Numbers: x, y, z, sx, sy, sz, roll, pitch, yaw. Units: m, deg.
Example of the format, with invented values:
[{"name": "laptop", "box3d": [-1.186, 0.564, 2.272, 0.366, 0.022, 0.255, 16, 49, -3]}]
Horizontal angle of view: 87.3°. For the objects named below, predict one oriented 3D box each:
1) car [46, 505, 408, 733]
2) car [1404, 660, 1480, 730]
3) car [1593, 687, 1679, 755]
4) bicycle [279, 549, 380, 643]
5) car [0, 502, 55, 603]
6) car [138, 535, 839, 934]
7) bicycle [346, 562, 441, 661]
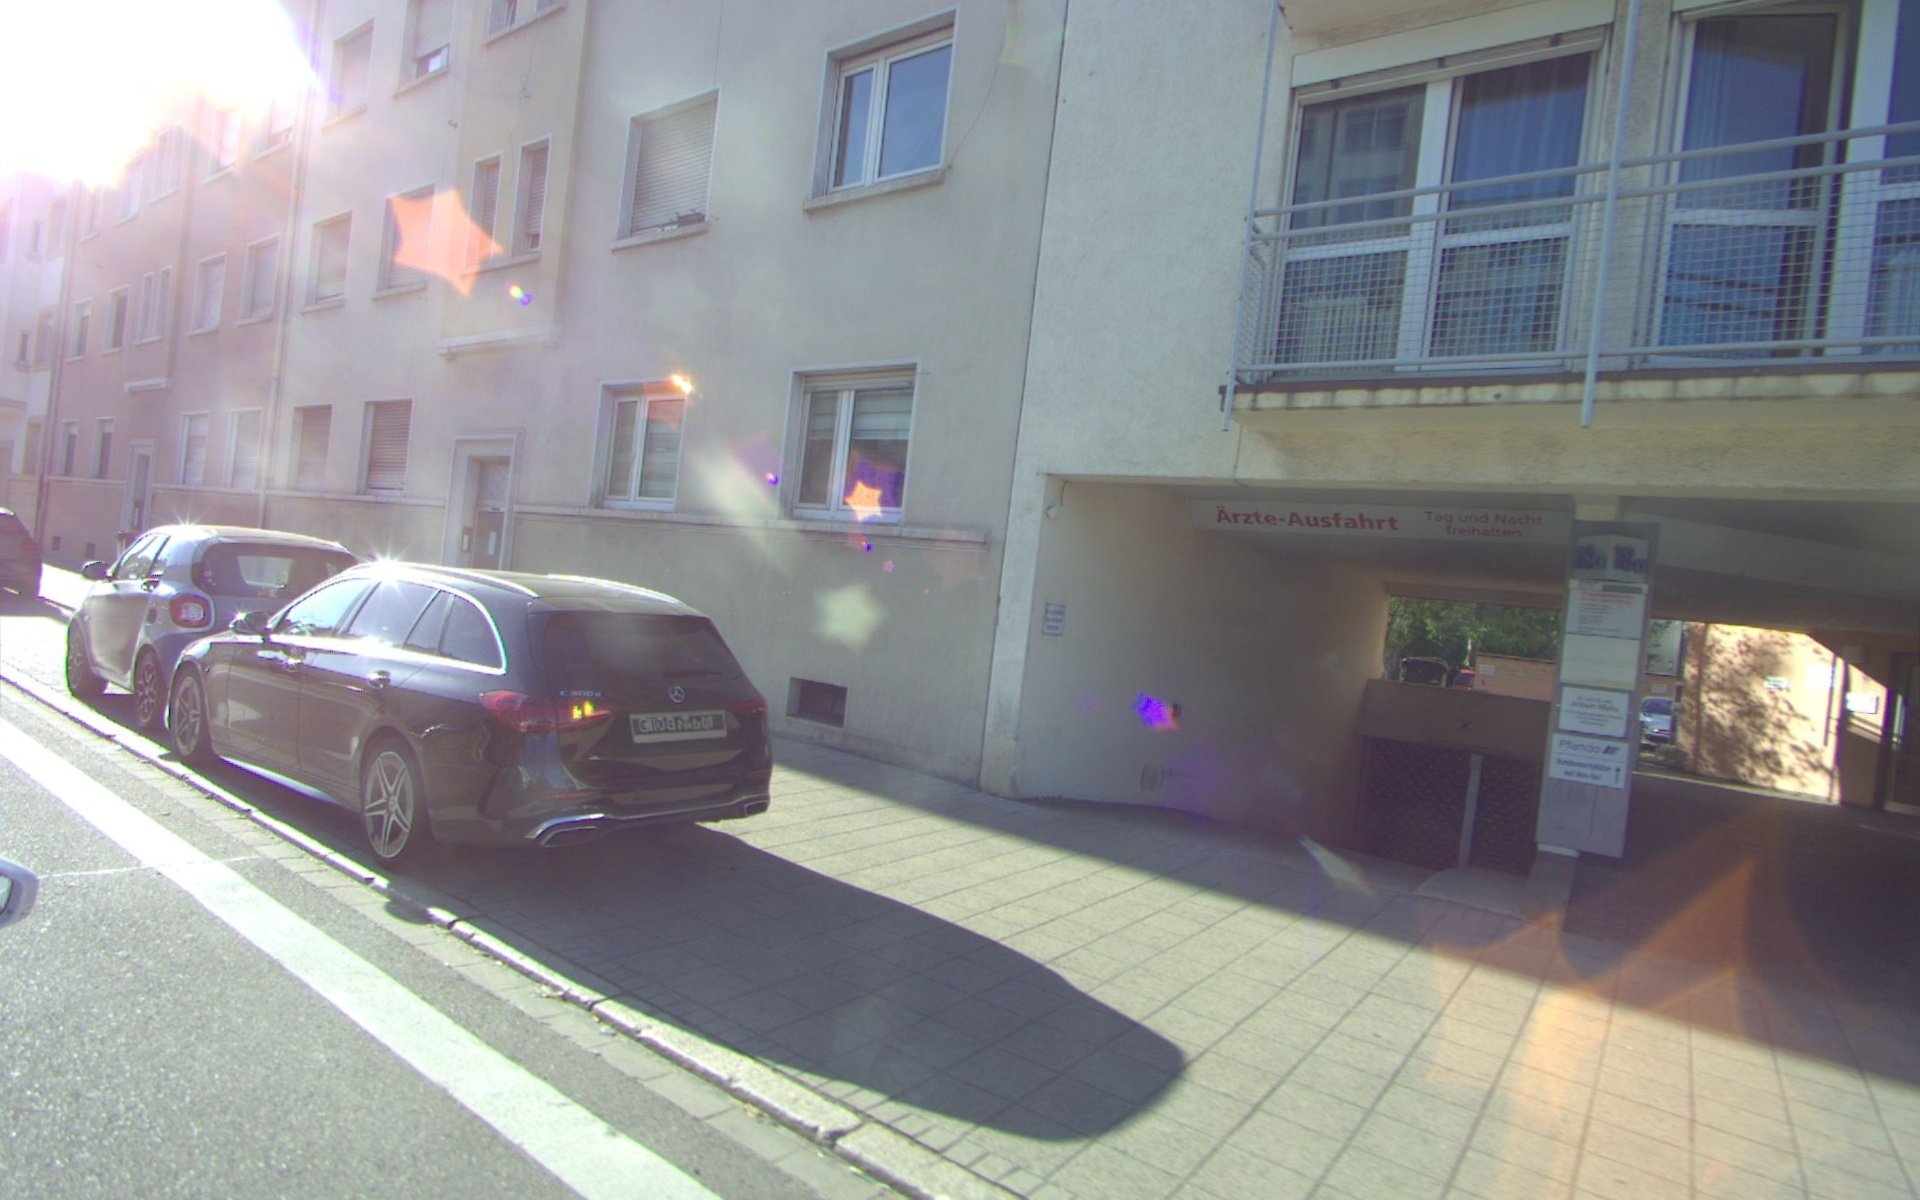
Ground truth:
[{"name": "car", "box3d": [-6.287, 0.097, 8.574, 2.942, 1.545, 1.552, 6, 1, 35]}, {"name": "car", "box3d": [19.391, 3.743, 40.414, 2.434, 2.390, 5.460, 4, -1, 27]}, {"name": "car", "box3d": [17.229, 3.017, 25.602, 1.620, 1.427, 3.634, 4, -2, 35]}, {"name": "bicycle", "box3d": [-9.493, -0.072, 15.126, 1.853, 1.209, 0.628, 7, 3, 37]}, {"name": "car", "box3d": [-16.497, -0.912, 16.391, 4.030, 1.491, 1.771, 6, 2, 36]}, {"name": "car", "box3d": [-3.144, 0.500, 6.231, 4.668, 1.416, 1.882, 6, 2, 36]}, {"name": "bicycle", "box3d": [-7.933, 0.146, 14.067, 1.533, 1.208, 0.513, 7, 1, 37]}]
